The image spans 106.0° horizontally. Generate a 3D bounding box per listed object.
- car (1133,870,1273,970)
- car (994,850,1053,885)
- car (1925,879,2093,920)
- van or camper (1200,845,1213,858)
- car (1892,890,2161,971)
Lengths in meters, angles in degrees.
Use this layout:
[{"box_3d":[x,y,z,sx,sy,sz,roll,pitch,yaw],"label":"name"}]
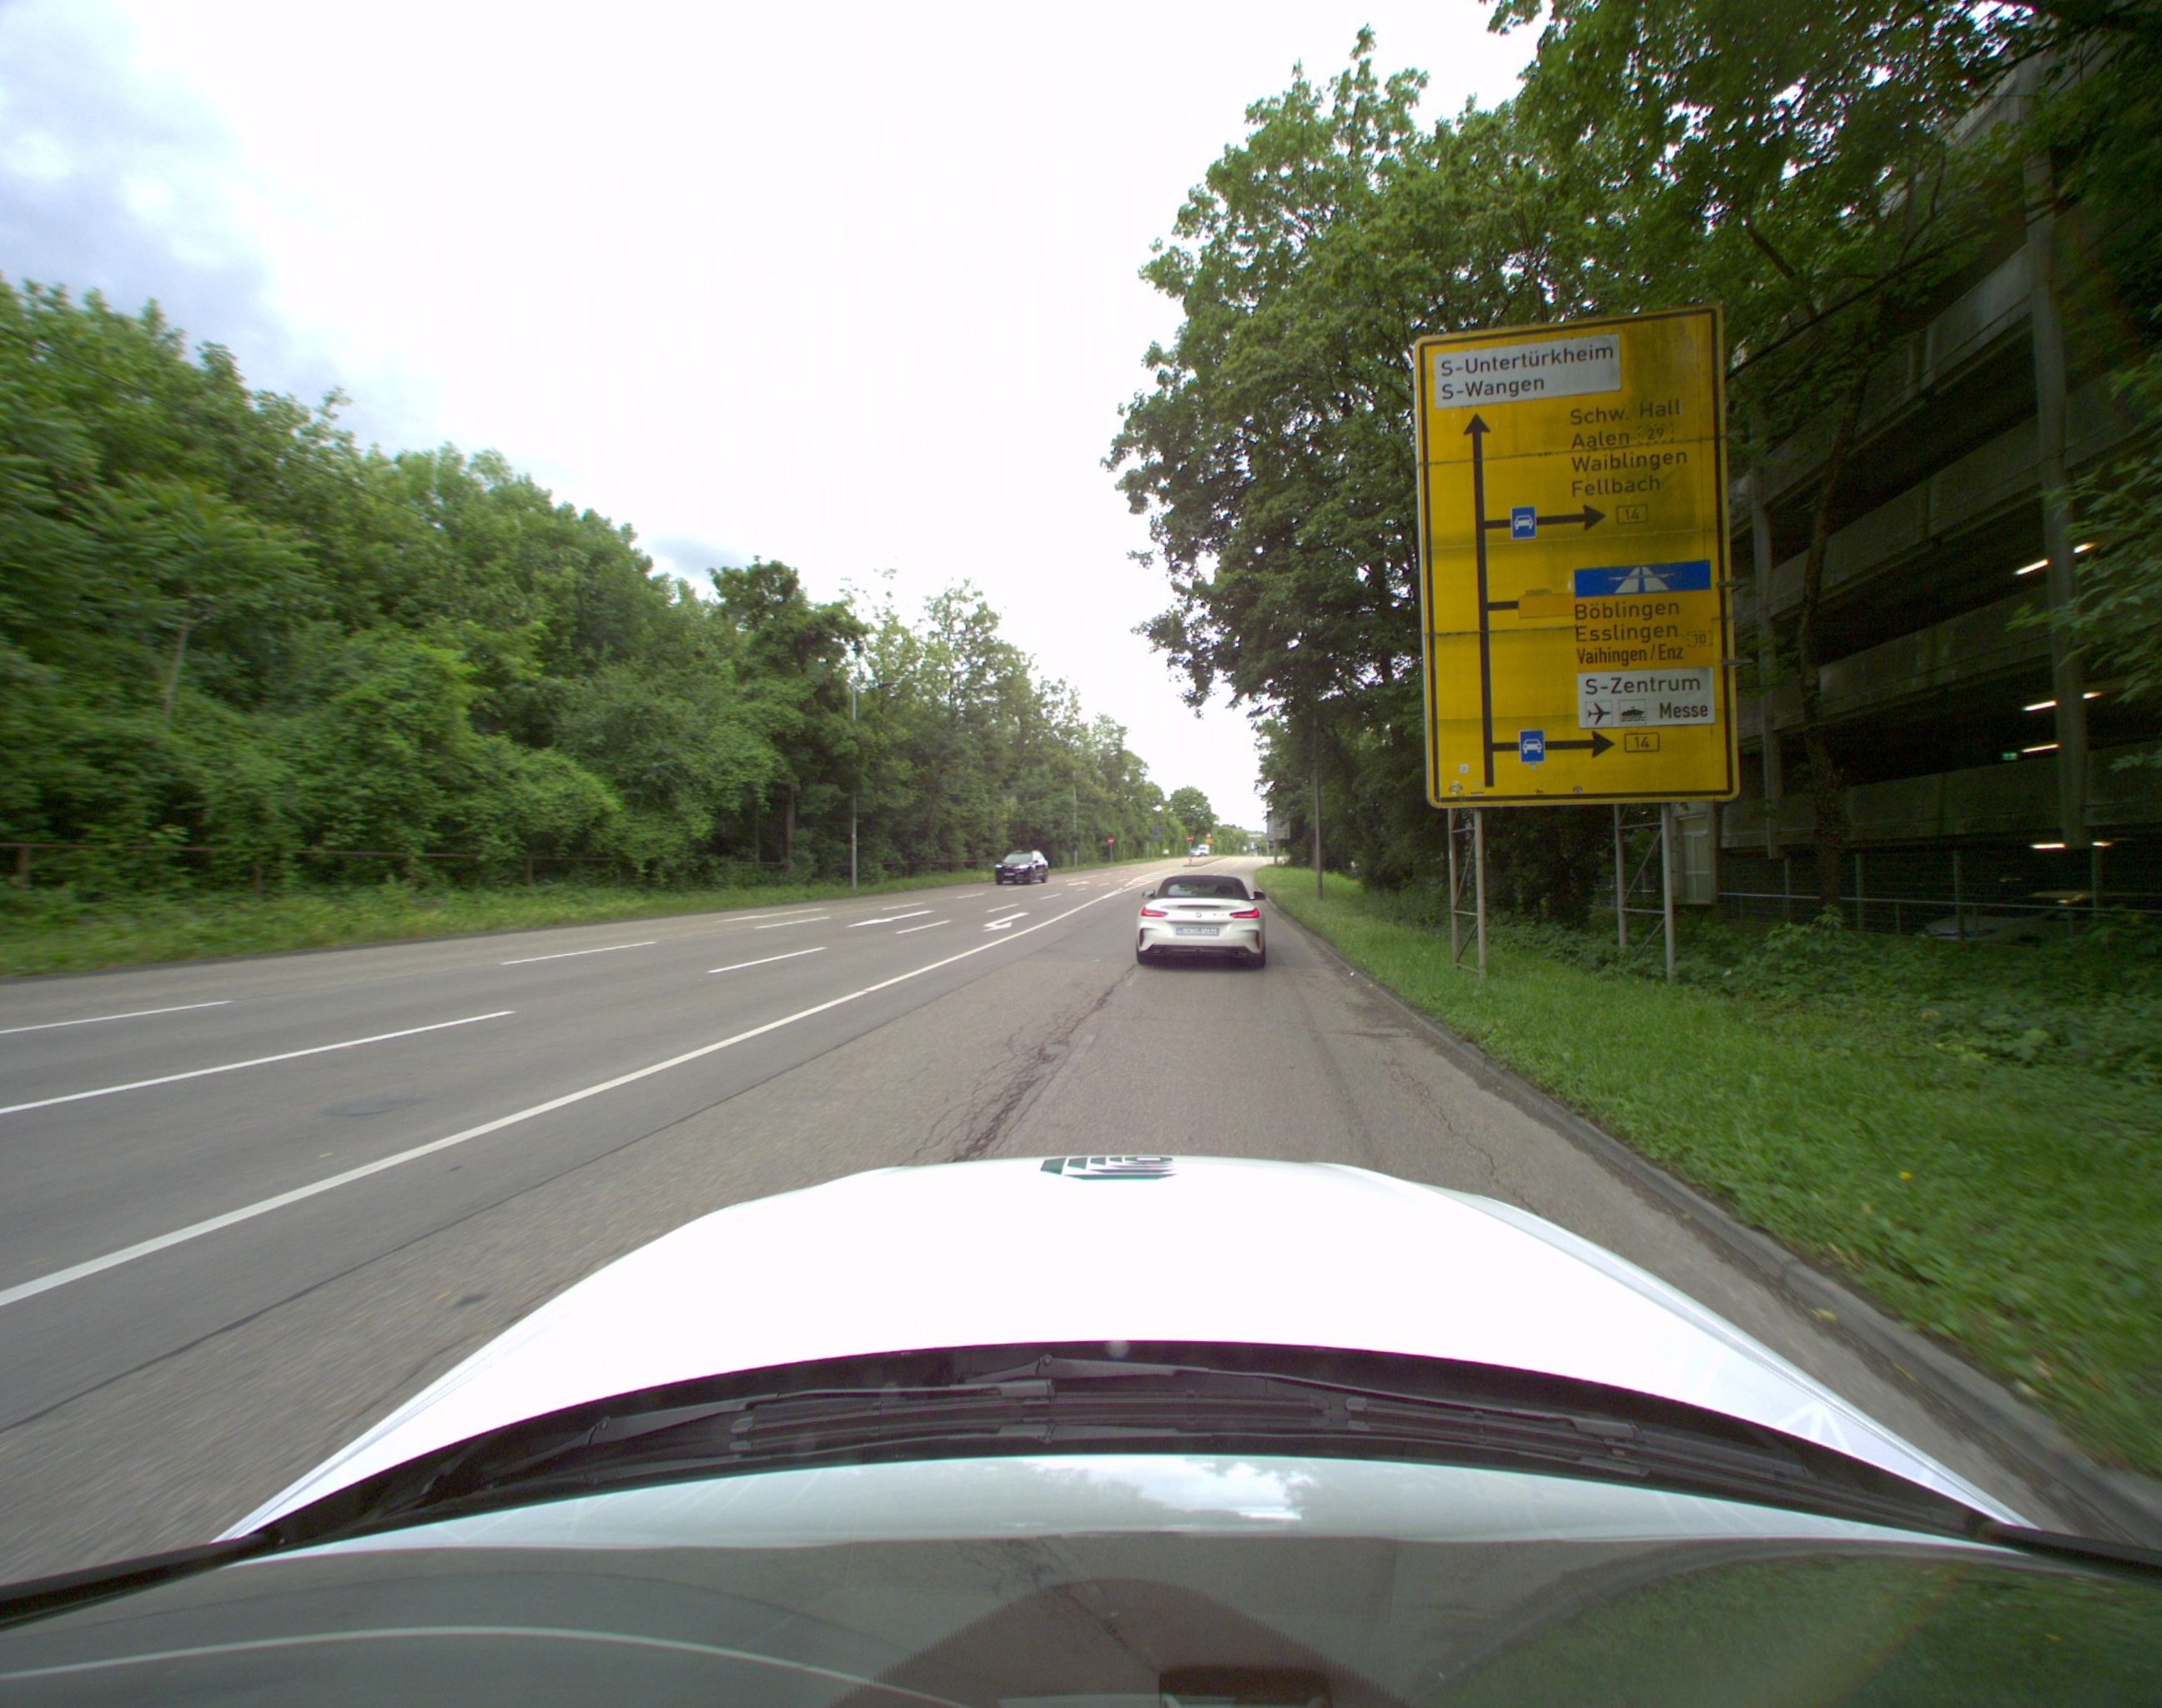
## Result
[{"box_3d":[1.951,0.926,12.915,1.863,1.309,3.883,0,-1,9],"label":"car"},{"box_3d":[-2.868,0.673,41.567,1.810,1.653,4.235,1,-1,12],"label":"car"},{"box_3d":[32.648,1.595,28.760,3.639,1.351,1.678,-2,-2,10],"label":"car"},{"box_3d":[27.785,-0.485,179.860,2.267,2.555,6.883,2,0,13],"label":"van or camper"},{"box_3d":[19.171,1.464,15.949,4.413,1.456,1.716,-1,-3,11],"label":"car"}]
